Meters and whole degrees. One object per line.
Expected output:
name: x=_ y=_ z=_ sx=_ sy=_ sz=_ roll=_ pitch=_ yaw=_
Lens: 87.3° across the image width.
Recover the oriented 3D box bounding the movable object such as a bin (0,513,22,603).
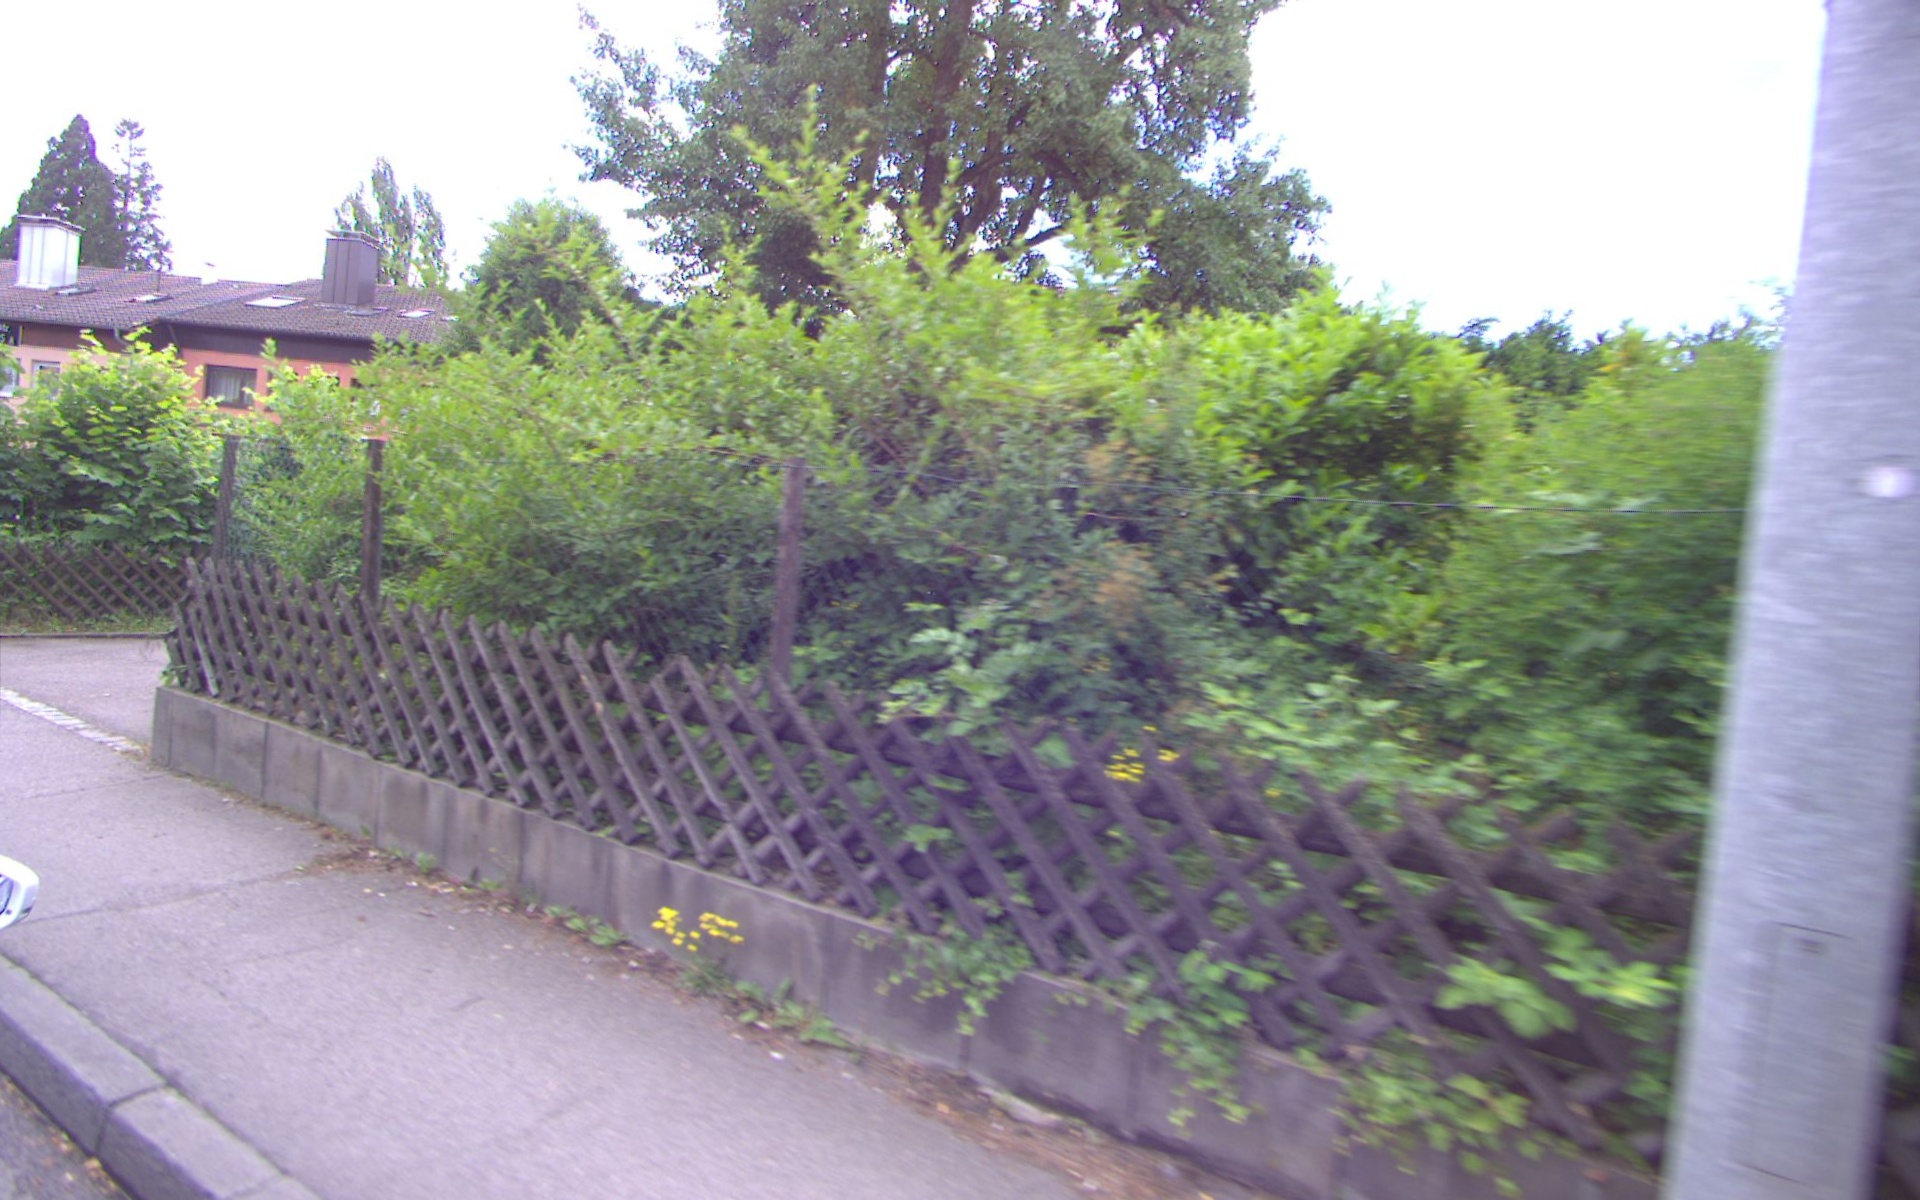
movable object such as a bin: x=-10.860 y=-0.485 z=11.104 sx=0.673 sy=0.970 sz=0.447 roll=6 pitch=5 yaw=15

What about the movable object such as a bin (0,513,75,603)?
movable object such as a bin: x=-10.702 y=-0.487 z=11.604 sx=0.673 sy=0.970 sz=0.447 roll=6 pitch=5 yaw=15
